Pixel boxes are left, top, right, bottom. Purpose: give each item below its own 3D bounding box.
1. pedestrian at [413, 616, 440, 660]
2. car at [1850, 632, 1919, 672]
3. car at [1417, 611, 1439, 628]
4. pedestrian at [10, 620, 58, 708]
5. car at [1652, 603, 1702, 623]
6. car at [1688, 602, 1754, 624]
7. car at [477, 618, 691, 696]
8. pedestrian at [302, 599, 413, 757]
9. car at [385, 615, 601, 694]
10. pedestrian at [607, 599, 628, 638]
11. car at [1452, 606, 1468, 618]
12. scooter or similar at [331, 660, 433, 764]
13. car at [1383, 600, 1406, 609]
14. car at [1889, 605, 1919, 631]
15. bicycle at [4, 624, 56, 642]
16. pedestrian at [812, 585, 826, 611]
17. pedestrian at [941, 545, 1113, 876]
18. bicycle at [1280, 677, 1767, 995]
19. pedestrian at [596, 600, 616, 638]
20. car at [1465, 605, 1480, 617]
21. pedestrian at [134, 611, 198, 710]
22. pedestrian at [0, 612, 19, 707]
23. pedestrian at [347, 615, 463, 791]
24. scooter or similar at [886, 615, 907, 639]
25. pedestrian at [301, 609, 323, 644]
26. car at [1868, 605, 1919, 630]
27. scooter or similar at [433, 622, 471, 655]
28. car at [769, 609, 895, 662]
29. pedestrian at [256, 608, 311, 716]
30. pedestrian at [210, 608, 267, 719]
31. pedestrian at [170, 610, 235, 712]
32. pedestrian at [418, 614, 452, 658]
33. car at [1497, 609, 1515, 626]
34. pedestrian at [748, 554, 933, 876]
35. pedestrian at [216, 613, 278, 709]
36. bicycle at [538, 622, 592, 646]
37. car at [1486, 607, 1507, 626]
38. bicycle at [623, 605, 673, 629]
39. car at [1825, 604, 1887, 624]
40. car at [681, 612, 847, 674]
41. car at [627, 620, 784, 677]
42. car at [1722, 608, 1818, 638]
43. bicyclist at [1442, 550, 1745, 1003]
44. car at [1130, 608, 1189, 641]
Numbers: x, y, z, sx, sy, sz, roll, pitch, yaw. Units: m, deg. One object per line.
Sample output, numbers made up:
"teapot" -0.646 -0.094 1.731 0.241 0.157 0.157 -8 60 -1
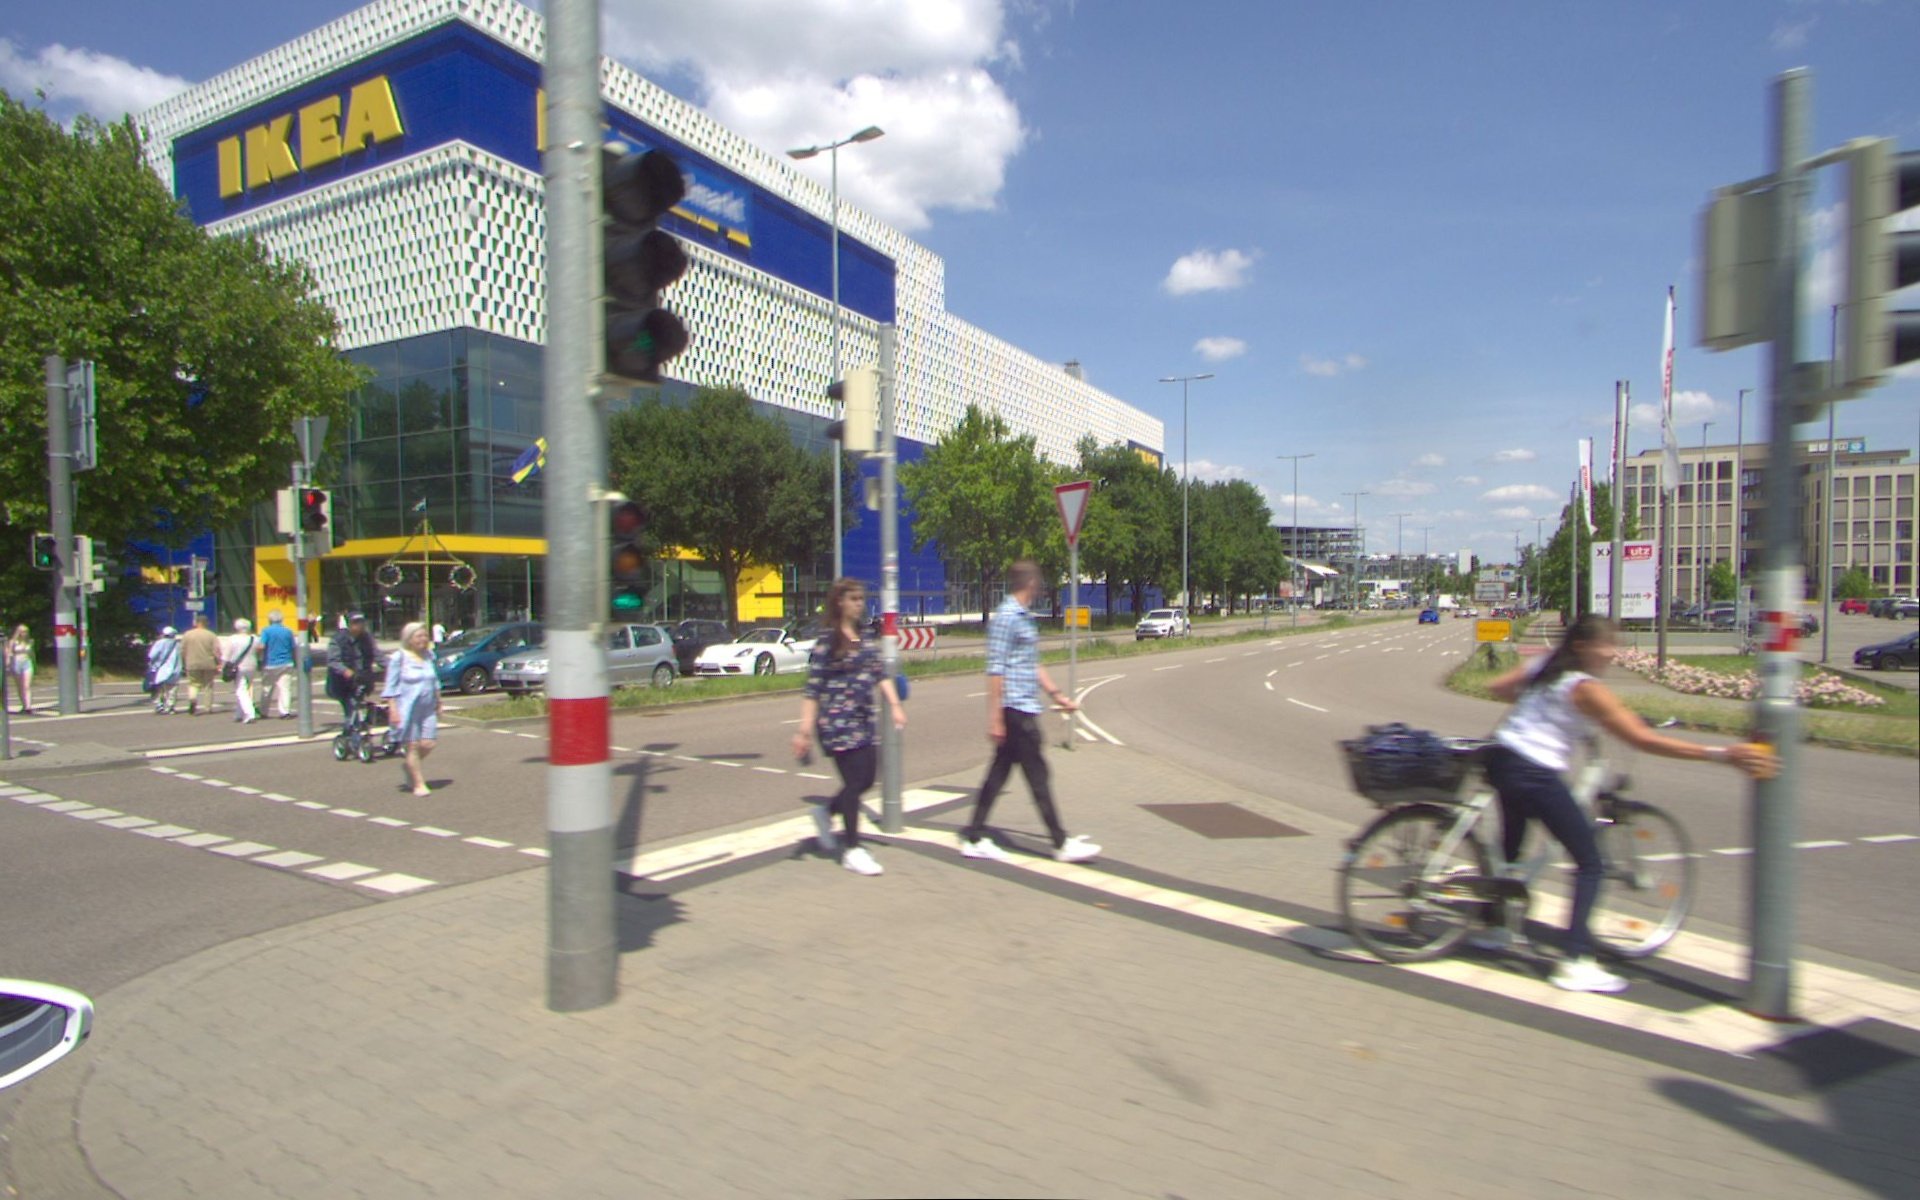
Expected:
"pedestrian" -19.982 1.419 37.503 0.623 1.607 0.610 0 0 23
"car" 34.515 1.846 35.659 3.884 1.394 1.846 -1 -1 30
"car" 46.948 1.980 100.508 1.735 1.632 3.533 -1 -1 30
"pedestrian" -17.250 1.181 18.653 0.603 1.600 0.526 0 0 33
"car" 73.514 1.338 102.752 3.941 2.040 1.991 -1 -1 31
"car" 59.325 1.039 78.125 3.945 1.706 1.989 -1 -1 34
"car" -7.458 1.068 20.199 1.776 1.415 3.820 -1 -1 29
"pedestrian" -6.848 0.854 11.383 0.934 1.694 0.780 -1 0 36
"car" -10.186 1.129 22.143 1.968 1.576 3.986 -1 -1 27
"pedestrian" -18.304 0.974 53.575 0.723 2.040 0.794 0 0 36
"car" 66.432 1.600 133.019 1.735 1.632 3.533 -1 -1 30
"scooter or similar" -6.380 1.208 11.058 0.851 1.044 0.687 -1 0 35
"car" 82.392 0.859 189.903 3.622 1.633 1.800 0 -1 5
"car" 75.786 1.426 78.558 3.941 2.040 1.990 -1 -1 31
"bicycle" -54.430 1.934 58.609 0.854 0.982 2.060 0 0 24
"pedestrian" -8.997 -0.128 63.926 0.570 1.607 0.766 0 0 23
"pedestrian" 0.432 0.646 6.275 0.786 1.889 0.802 -1 0 33
"bicycle" 2.513 0.979 4.557 1.844 1.177 0.831 0 0 -12
"pedestrian" -19.147 0.999 54.188 0.724 2.040 0.793 0 0 40
"car" 73.259 1.553 143.067 1.735 1.632 3.533 -1 -1 30
"pedestrian" -14.010 1.043 17.672 0.790 1.681 0.843 0 0 -45
"pedestrian" -17.343 1.067 17.975 0.631 1.688 0.526 0 0 33
"pedestrian" -4.963 0.888 8.963 0.794 1.495 0.588 -1 -1 31
"scooter or similar" -3.512 1.496 55.565 1.119 1.337 0.400 0 0 32
"pedestrian" -32.967 1.345 50.937 0.732 1.759 0.777 0 0 41
"car" 77.946 1.473 82.796 3.942 2.040 1.990 -1 -1 31
"scooter or similar" -19.216 1.454 37.914 0.717 1.214 1.073 0 0 27
"car" -4.121 1.143 32.997 1.836 1.605 4.394 -1 -1 31
"pedestrian" -10.790 0.978 15.970 0.598 1.658 0.856 0 -1 -43
"pedestrian" -11.127 0.965 15.446 0.602 1.658 0.856 0 -1 -43
"pedestrian" -13.017 1.021 17.207 0.790 1.681 0.843 0 0 -45
"pedestrian" -19.442 1.333 37.062 0.623 1.607 0.918 0 0 23
"car" 67.414 2.180 123.588 1.970 2.040 3.982 -1 -1 30
"pedestrian" -0.722 0.650 6.115 0.787 1.782 0.801 -1 -1 37
"pedestrian" -12.859 1.071 18.065 0.790 1.681 0.843 0 0 -45
"bicycle" -18.782 1.614 47.583 2.388 1.160 0.801 -1 0 15
"car" 60.577 1.865 113.071 1.970 2.040 3.982 -1 -1 30
"bicycle" -16.128 0.870 51.765 2.388 1.214 0.801 0 0 15
"car" 82.837 1.342 92.636 3.941 1.750 1.730 -1 -2 30
"car" -4.801 1.018 25.135 1.776 1.416 4.214 0 -1 30
"car" -7.031 1.300 28.106 1.824 1.462 4.398 -1 -1 28
"car" 47.861 1.365 59.295 4.059 1.706 1.992 -1 -1 28
"bicyclist" 2.624 0.683 4.252 0.783 1.723 0.816 0 0 4
"car" 10.764 1.286 53.893 1.970 1.661 4.063 0 0 30
